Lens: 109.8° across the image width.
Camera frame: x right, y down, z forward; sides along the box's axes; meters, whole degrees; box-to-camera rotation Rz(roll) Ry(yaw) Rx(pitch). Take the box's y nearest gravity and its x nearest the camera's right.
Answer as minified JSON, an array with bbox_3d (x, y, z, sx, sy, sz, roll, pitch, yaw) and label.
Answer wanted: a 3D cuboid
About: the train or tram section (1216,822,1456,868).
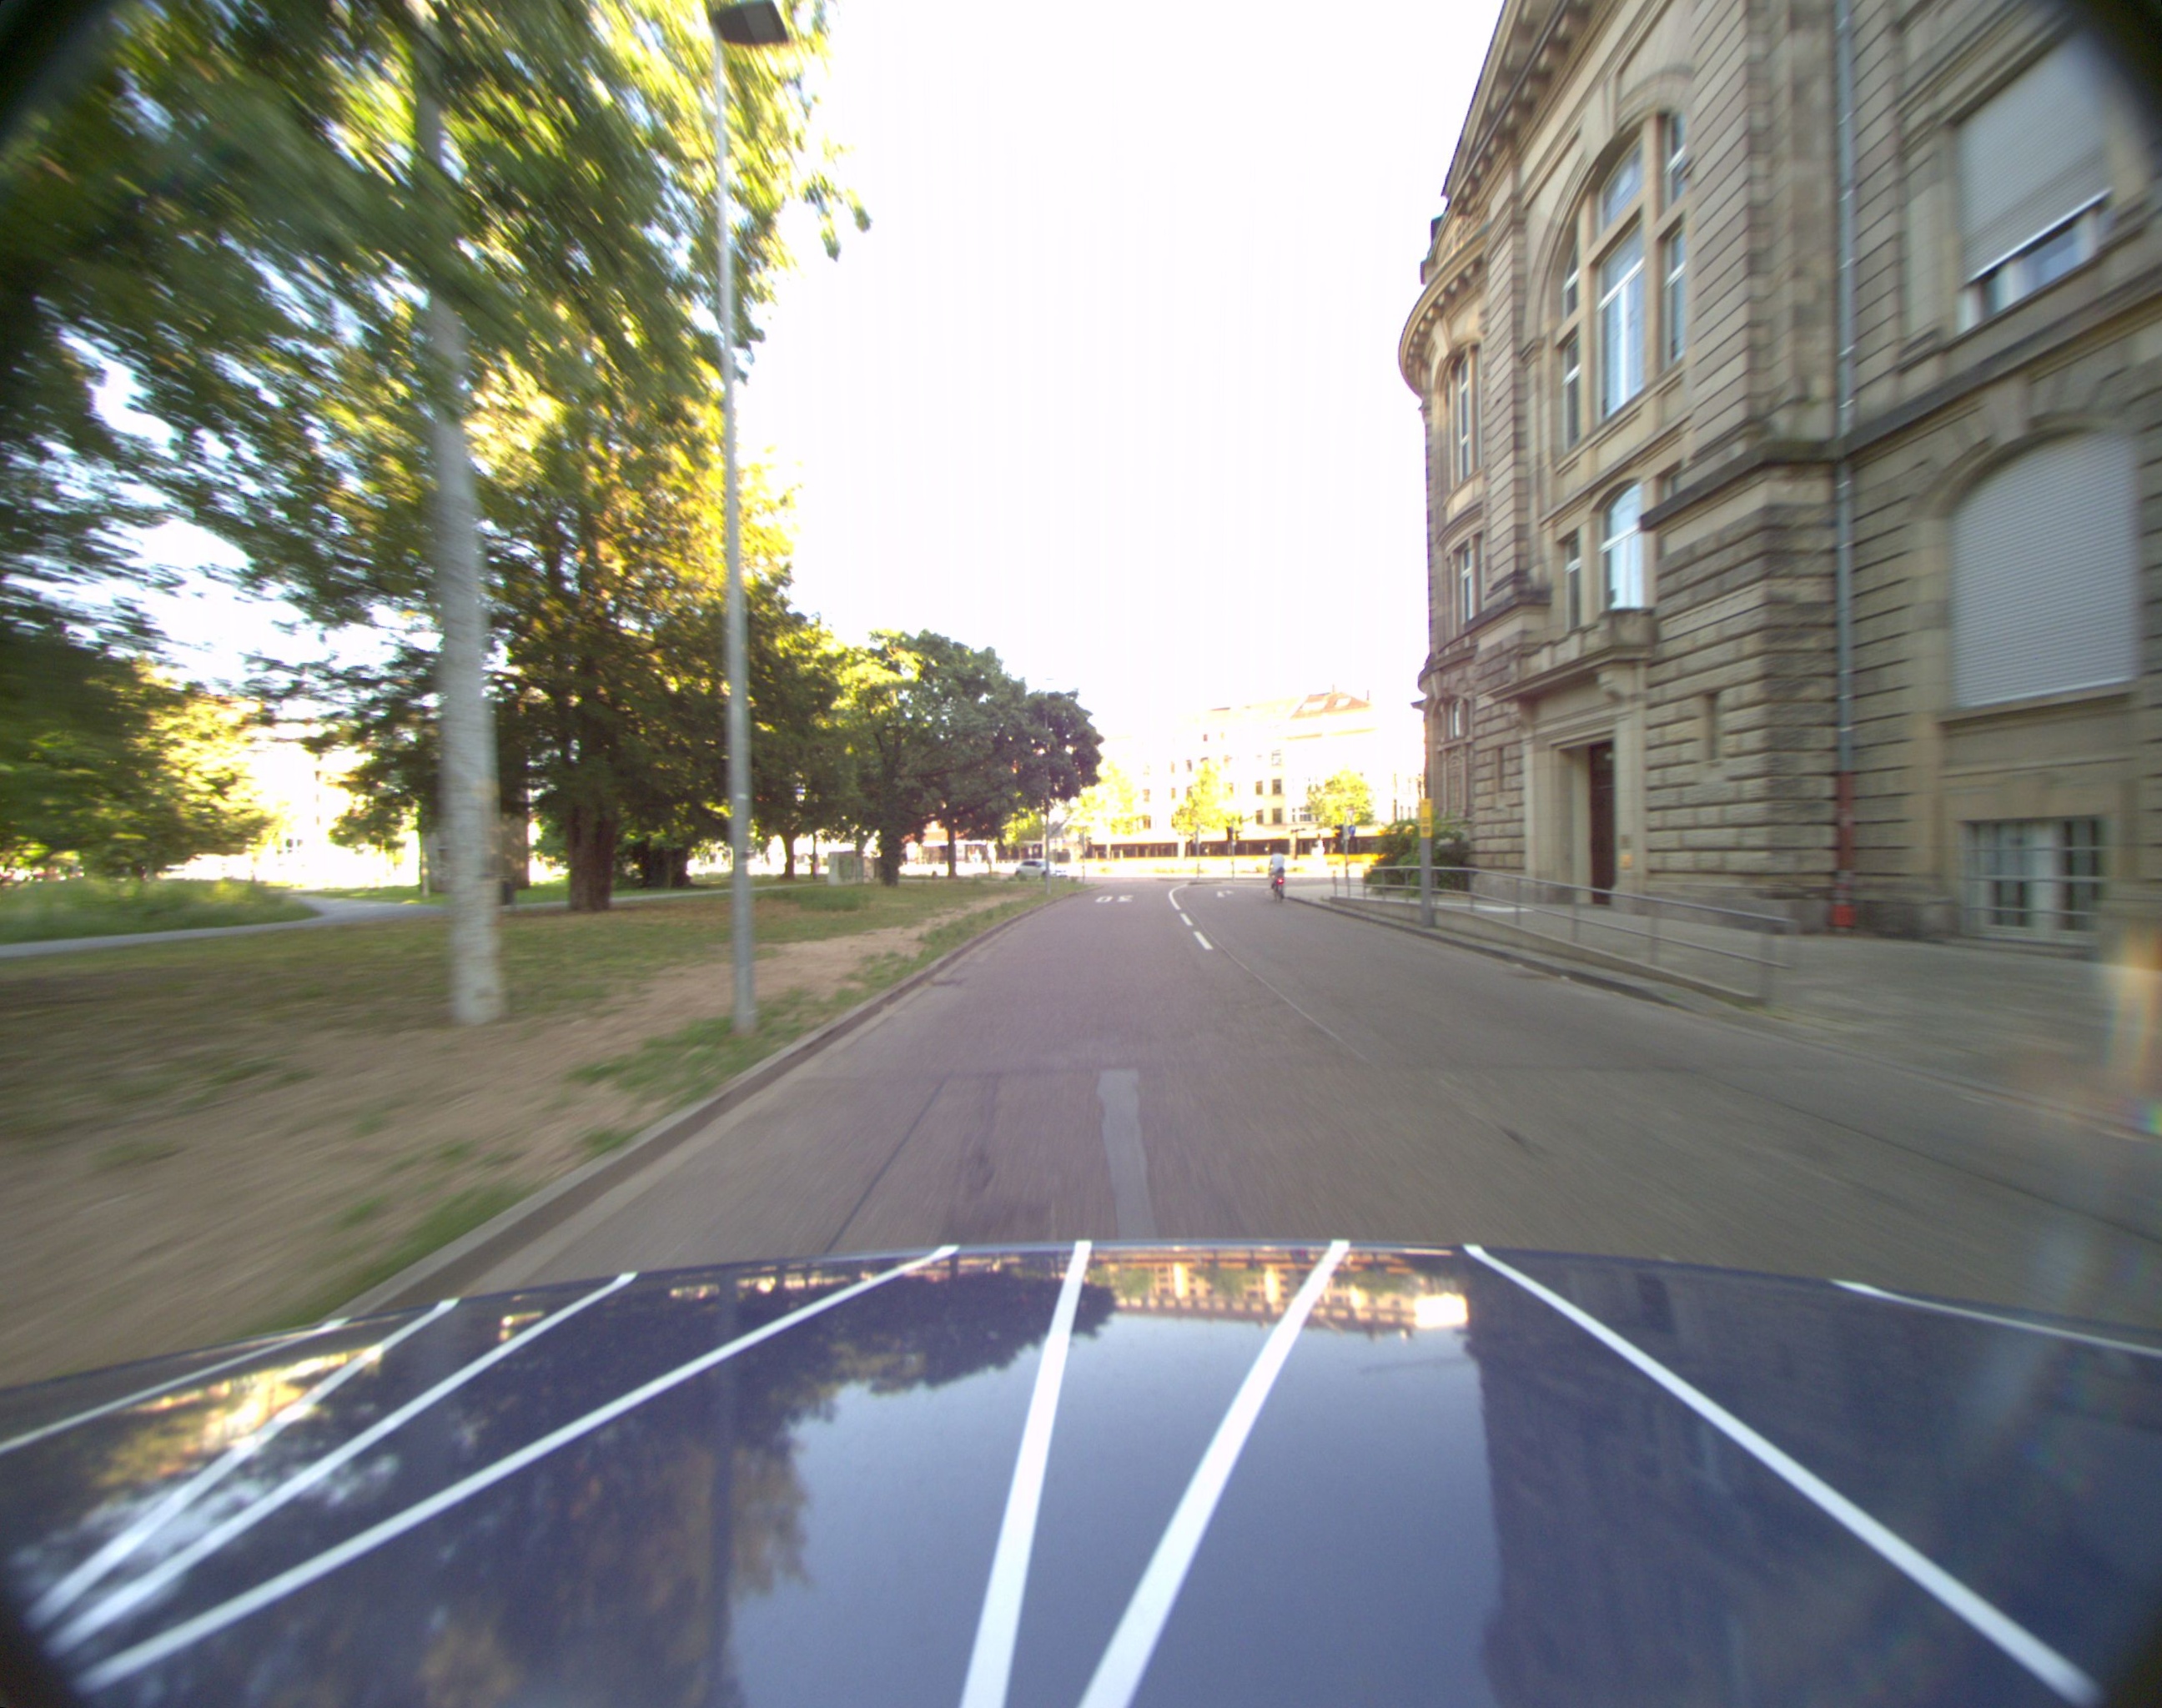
[{"bbox_3d":[21.548,-0.602,66.461,19.875,3.538,3.129,-1,0,37],"label":"train or tram section"}]

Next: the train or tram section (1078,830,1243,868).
[{"bbox_3d":[7.602,-0.370,76.968,17.428,3.538,3.129,-1,0,37],"label":"train or tram section"}]

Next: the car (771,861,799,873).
[{"bbox_3d":[-47.813,2.102,122.559,4.881,1.786,2.004,-1,0,39],"label":"car"}]

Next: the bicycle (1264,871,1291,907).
[{"bbox_3d":[6.379,1.116,24.759,0.663,1.064,2.155,0,0,9],"label":"bicycle"}]

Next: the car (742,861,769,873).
[{"bbox_3d":[-54.922,2.229,128.006,4.761,2.002,2.004,-1,0,36],"label":"car"}]

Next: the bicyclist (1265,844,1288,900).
[{"bbox_3d":[6.366,0.573,24.744,0.646,1.796,0.781,0,1,9],"label":"bicyclist"}]

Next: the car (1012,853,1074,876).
[{"bbox_3d":[-2.698,0.689,53.520,4.266,1.528,1.838,0,2,39],"label":"car"}]
